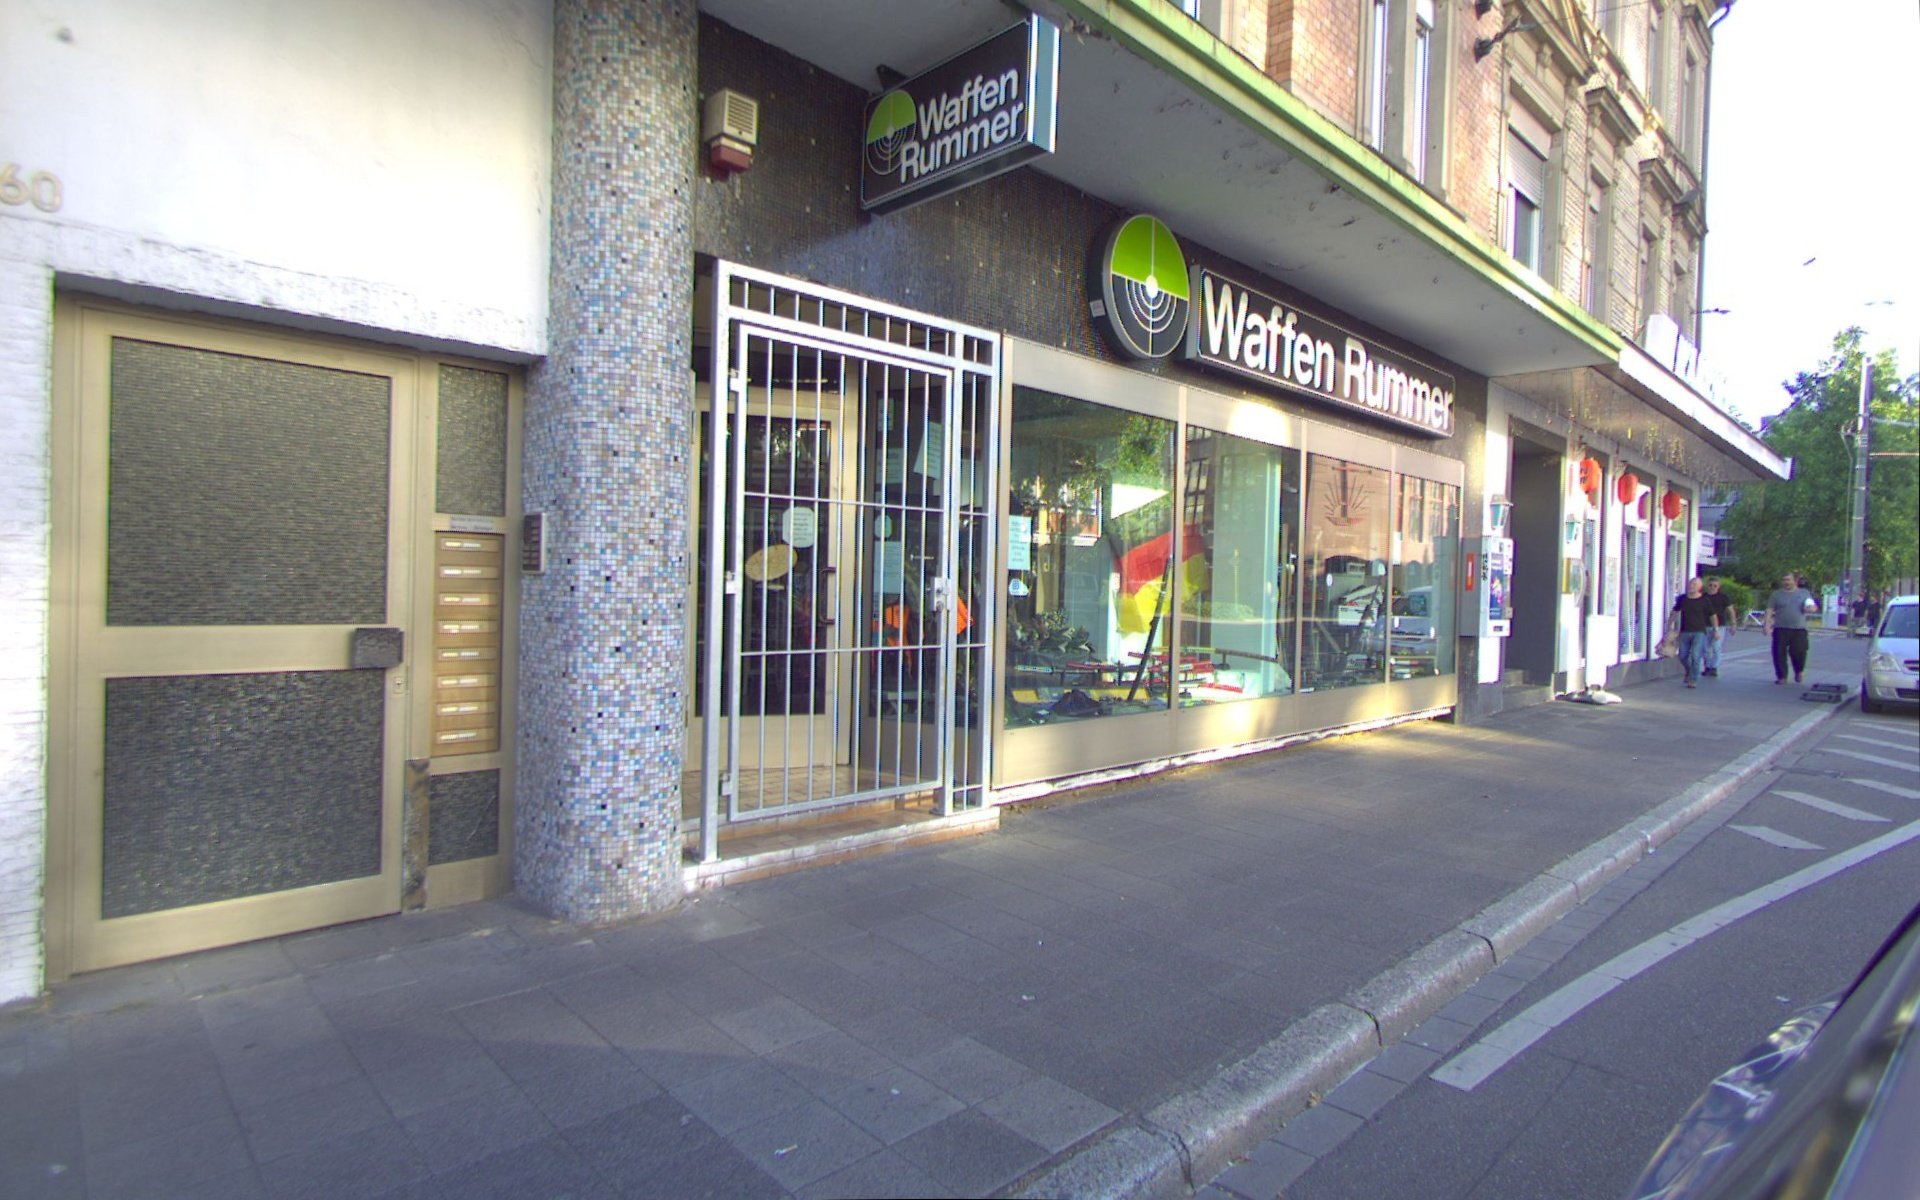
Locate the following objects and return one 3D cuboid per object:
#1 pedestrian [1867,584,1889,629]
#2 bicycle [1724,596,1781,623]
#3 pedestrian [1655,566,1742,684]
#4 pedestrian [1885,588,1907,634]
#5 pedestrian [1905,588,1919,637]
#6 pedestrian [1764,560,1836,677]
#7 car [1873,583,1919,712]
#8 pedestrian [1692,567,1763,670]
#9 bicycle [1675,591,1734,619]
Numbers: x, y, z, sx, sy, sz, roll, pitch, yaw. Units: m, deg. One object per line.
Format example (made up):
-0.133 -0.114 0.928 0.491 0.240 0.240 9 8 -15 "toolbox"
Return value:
35.907 0.253 39.576 0.430 1.734 0.493 0 3 -44 "pedestrian"
34.197 0.400 43.676 0.461 1.109 1.882 0 2 -45 "bicycle"
11.620 0.367 15.919 0.901 1.734 1.017 5 4 43 "pedestrian"
36.237 0.420 39.164 0.430 1.734 0.493 0 3 -44 "pedestrian"
34.744 0.459 36.559 0.930 1.759 0.788 0 1 -44 "pedestrian"
14.445 0.291 17.400 1.016 1.922 0.794 0 2 -44 "pedestrian"
13.817 0.598 13.960 1.638 1.635 3.881 1 1 45 "car"
13.732 0.309 18.100 1.016 1.778 0.811 0 2 -44 "pedestrian"
32.526 0.202 44.239 2.012 1.109 0.628 4 2 40 "bicycle"
